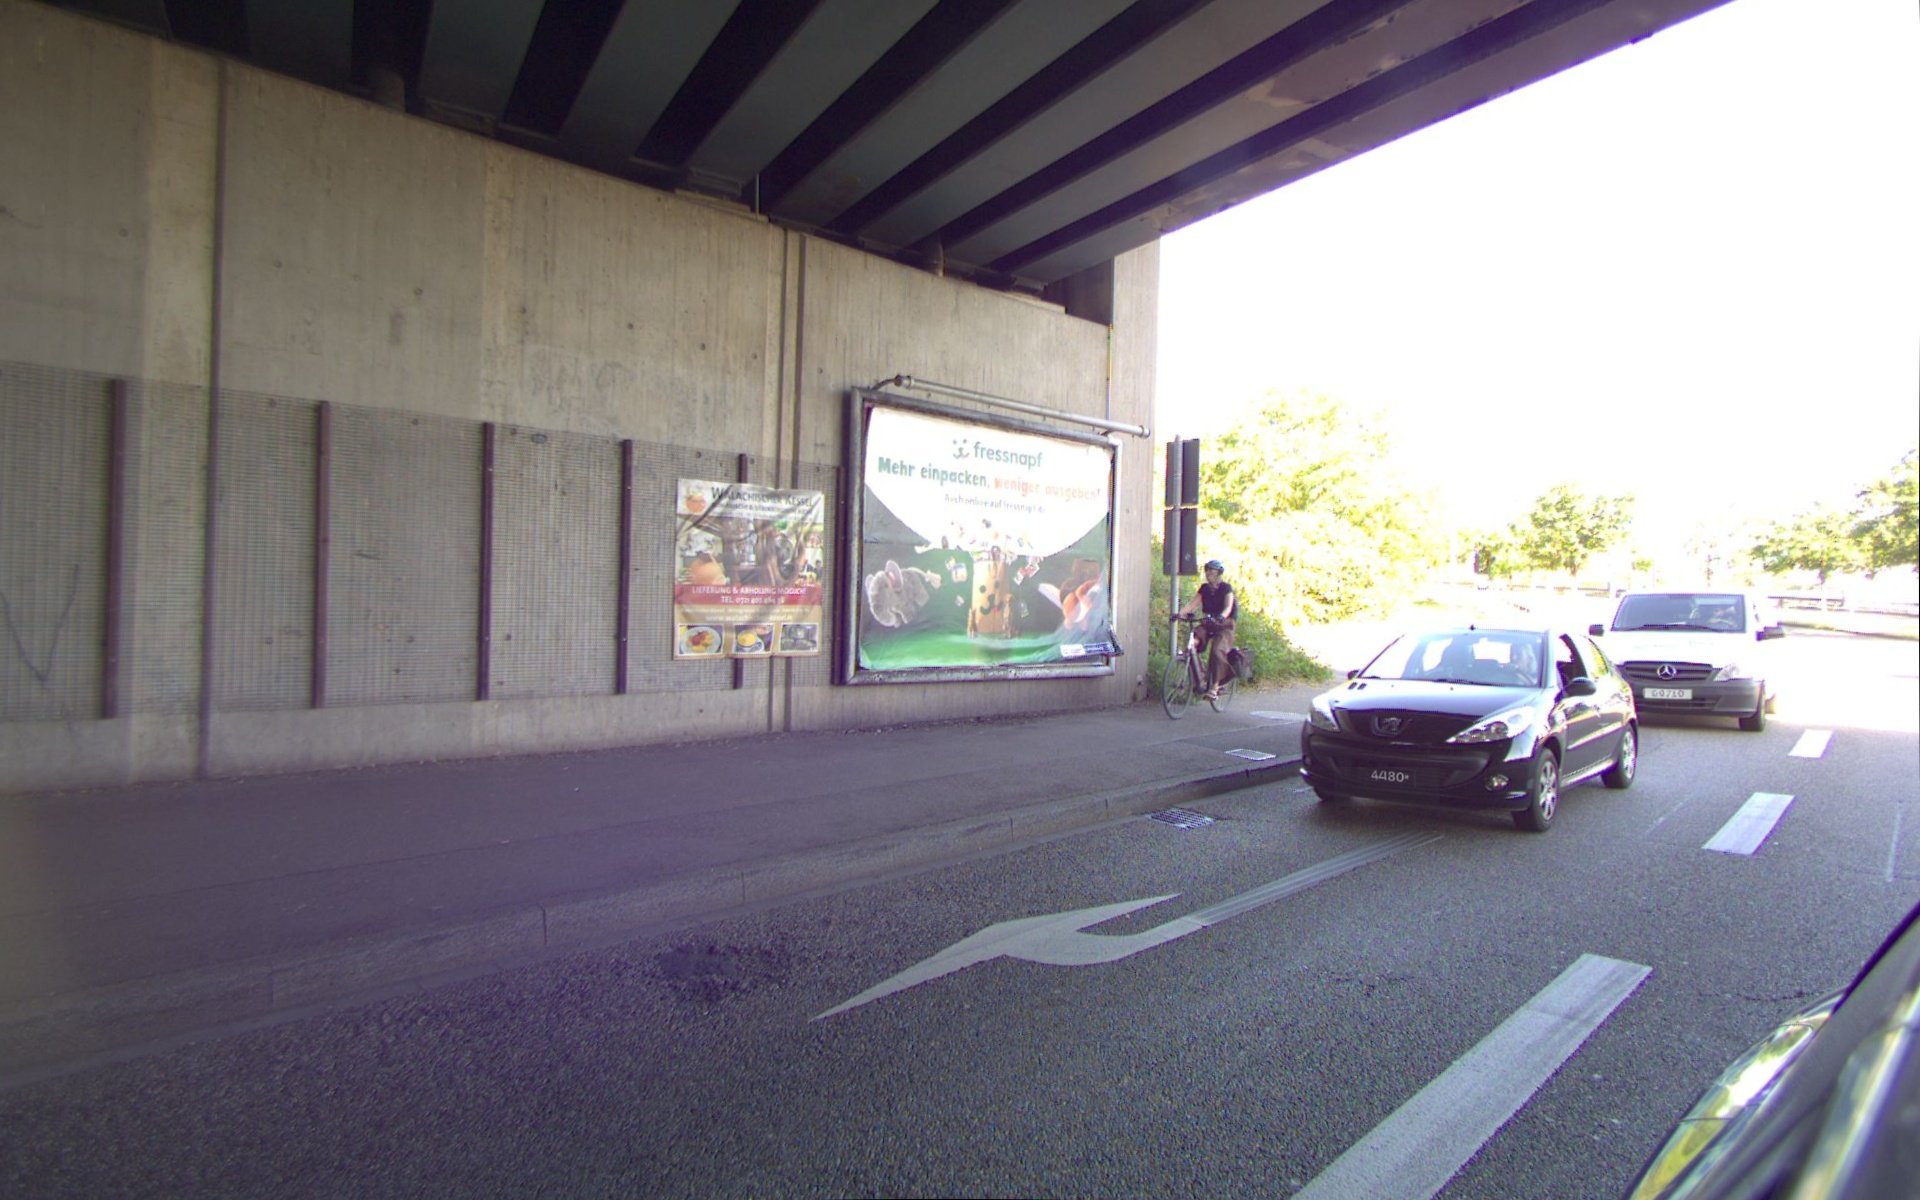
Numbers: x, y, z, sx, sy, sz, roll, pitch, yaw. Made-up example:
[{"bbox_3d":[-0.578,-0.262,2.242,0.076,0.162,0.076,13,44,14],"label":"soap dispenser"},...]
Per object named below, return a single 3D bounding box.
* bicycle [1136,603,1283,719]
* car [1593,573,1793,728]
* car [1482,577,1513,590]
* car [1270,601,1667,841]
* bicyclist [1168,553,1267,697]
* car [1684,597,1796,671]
[{"bbox_3d":[2.854,0.660,11.475,1.746,1.181,0.652,2,2,-40],"label":"bicycle"},{"bbox_3d":[10.686,0.598,14.594,1.896,1.859,4.762,0,0,42],"label":"car"},{"bbox_3d":[65.947,-2.044,124.205,1.773,1.626,4.292,0,1,3],"label":"car"},{"bbox_3d":[4.227,0.751,8.170,3.654,1.474,1.747,0,0,-43],"label":"car"},{"bbox_3d":[2.931,0.266,11.512,0.831,1.552,0.654,2,2,-39],"label":"bicyclist"},{"bbox_3d":[18.908,0.743,24.504,1.990,1.570,4.359,0,1,39],"label":"car"}]
